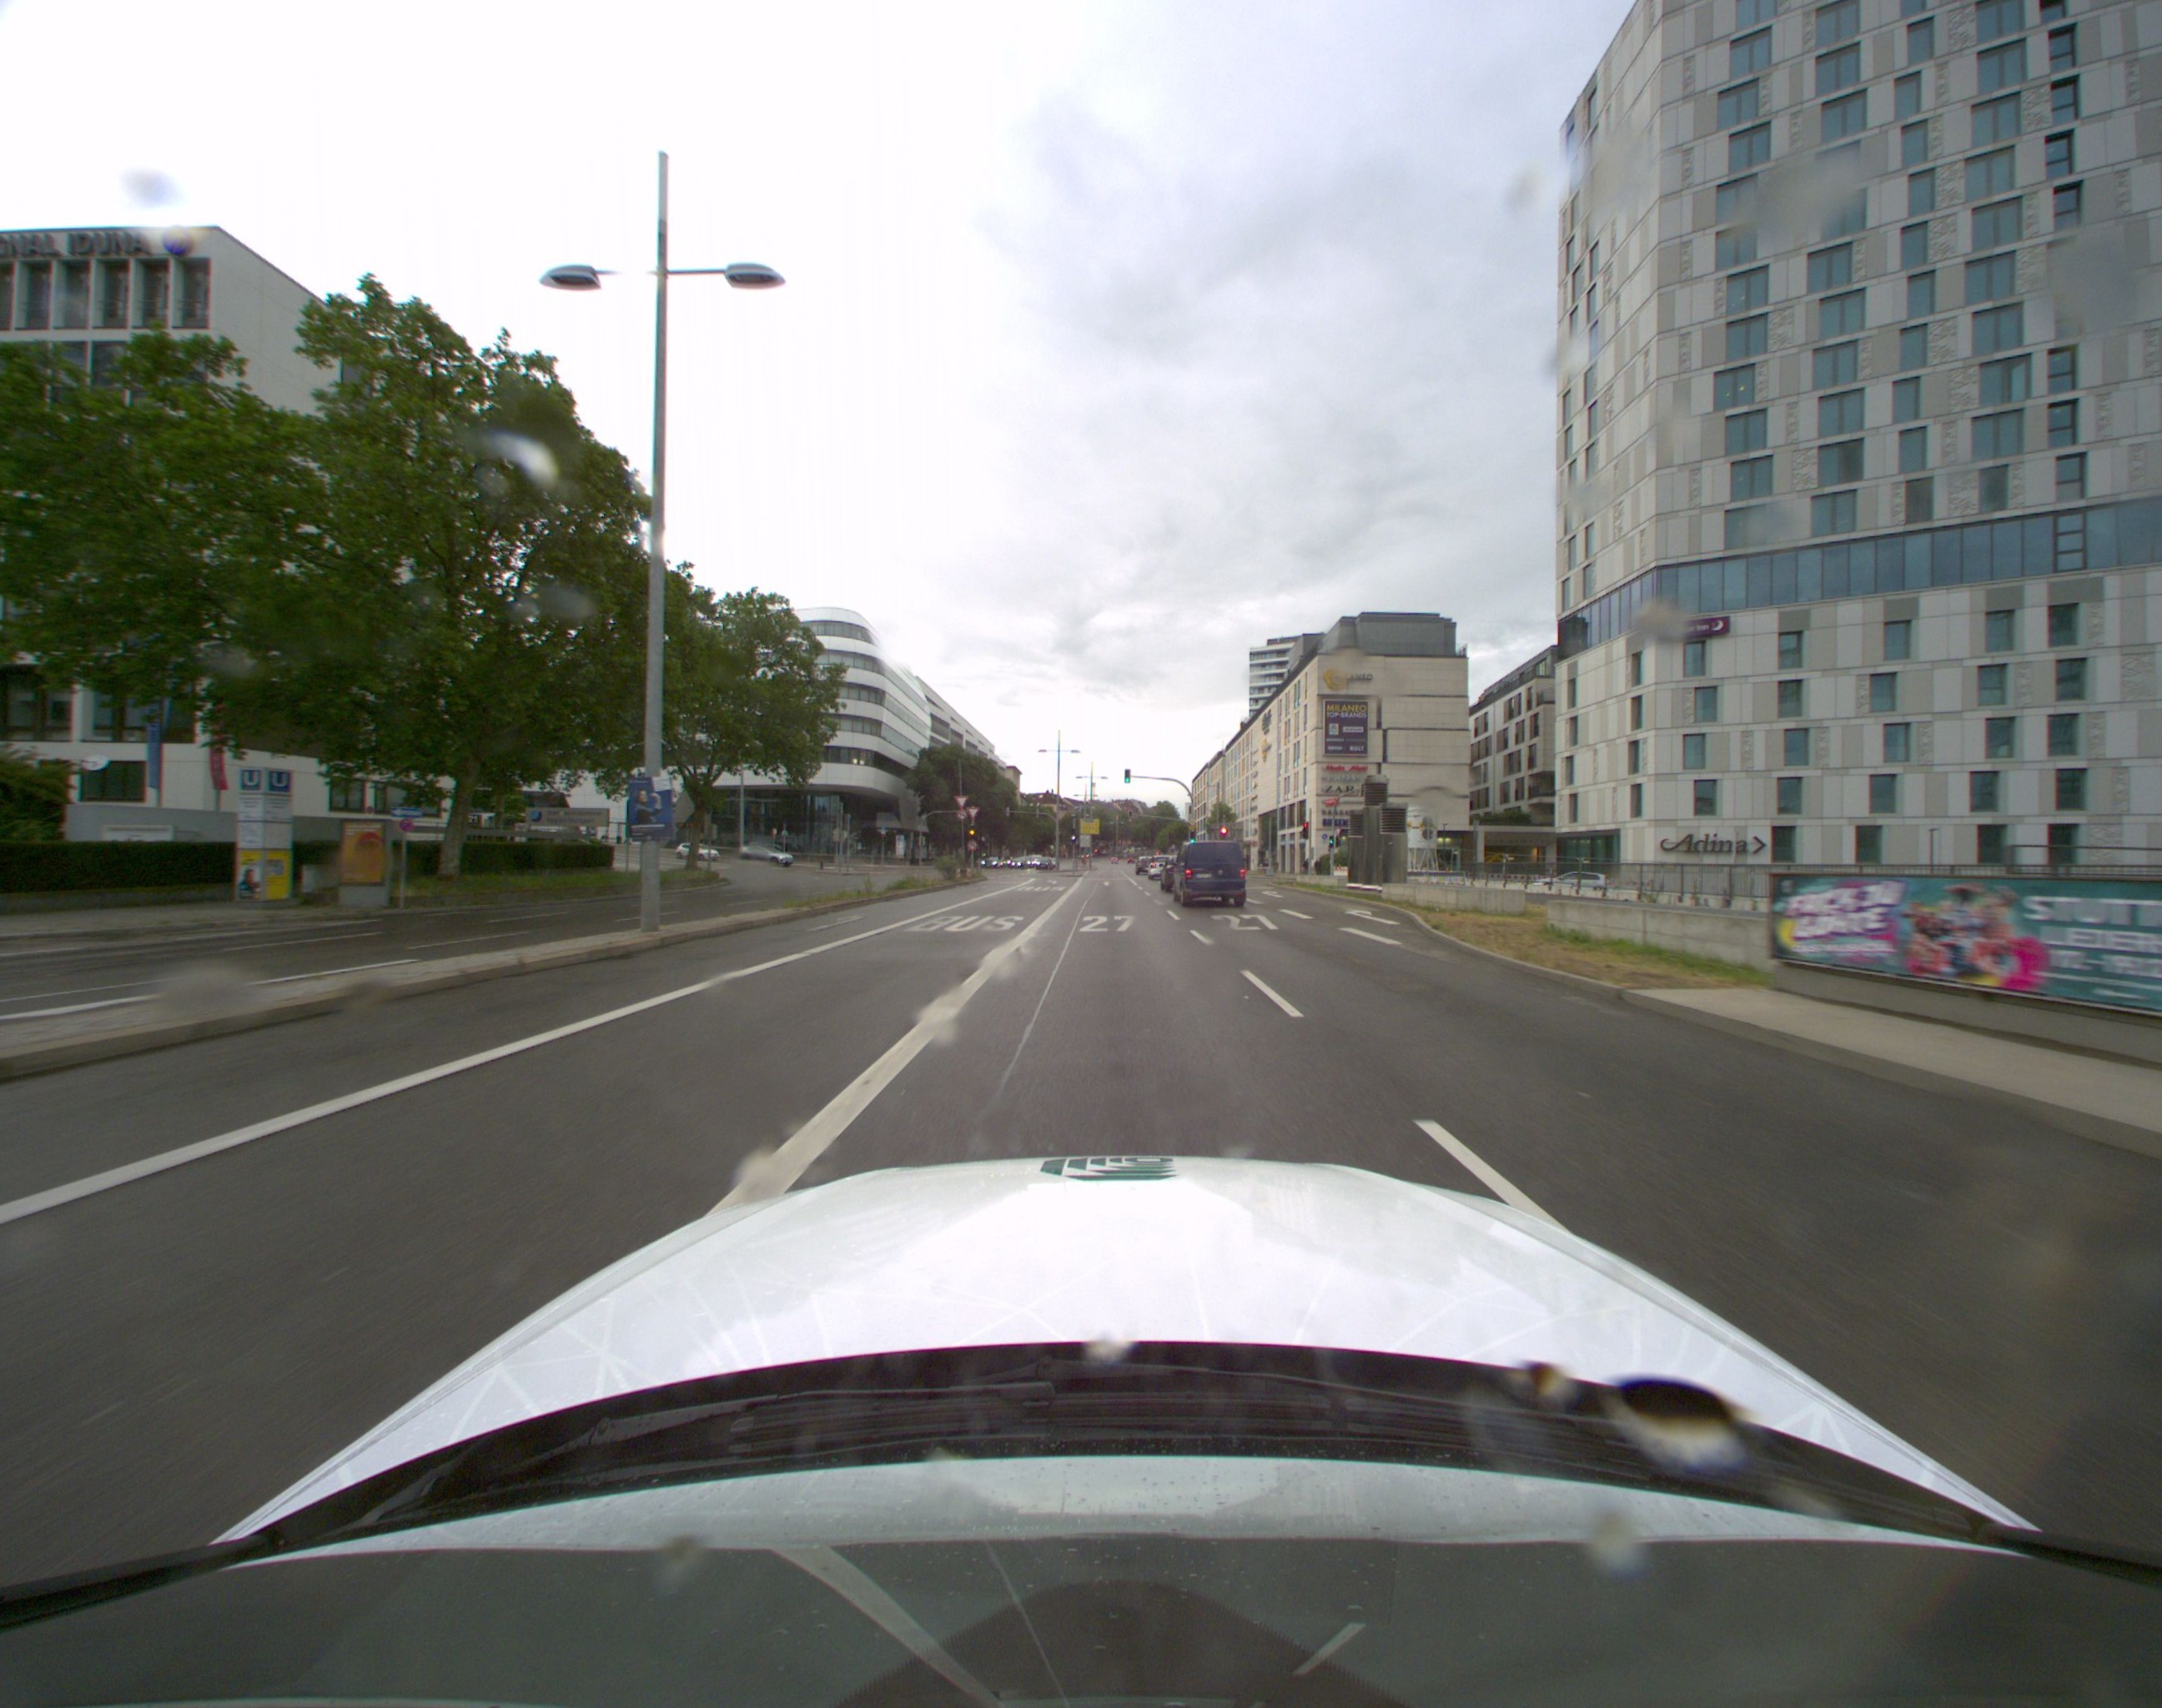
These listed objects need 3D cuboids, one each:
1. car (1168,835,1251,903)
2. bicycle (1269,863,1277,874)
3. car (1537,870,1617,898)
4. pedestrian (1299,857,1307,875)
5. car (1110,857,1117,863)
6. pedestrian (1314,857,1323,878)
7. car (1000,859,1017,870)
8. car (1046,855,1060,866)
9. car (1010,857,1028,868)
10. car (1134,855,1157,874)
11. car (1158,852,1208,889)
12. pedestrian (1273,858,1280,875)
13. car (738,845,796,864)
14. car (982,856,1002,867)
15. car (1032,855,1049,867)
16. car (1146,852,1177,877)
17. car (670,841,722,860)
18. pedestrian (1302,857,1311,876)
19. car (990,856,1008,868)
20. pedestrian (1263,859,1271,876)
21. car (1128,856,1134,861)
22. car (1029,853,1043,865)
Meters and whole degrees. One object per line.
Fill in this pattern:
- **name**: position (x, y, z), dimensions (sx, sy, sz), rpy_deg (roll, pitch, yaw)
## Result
- **car**: position (3.966, 0.423, 25.984), dimensions (2.025, 1.882, 5.045), rpy_deg (-3, 0, 3)
- **bicycle**: position (18.254, 1.386, 77.472), dimensions (0.447, 1.016, 1.743), rpy_deg (0, -1, 3)
- **car**: position (29.333, 1.766, 48.268), dimensions (3.949, 1.433, 1.754), rpy_deg (2, 0, 30)
- **pedestrian**: position (21.095, 1.138, 77.436), dimensions (0.588, 1.642, 0.591), rpy_deg (-1, -2, 27)
- **car**: position (8.935, 1.670, 223.073), dimensions (1.736, 1.531, 3.809), rpy_deg (0, 0, -3)
- **pedestrian**: position (20.961, 1.189, 71.861), dimensions (0.442, 1.780, 0.590), rpy_deg (1, -2, -26)
- **car**: position (-9.841, 1.447, 110.689), dimensions (1.736, 1.559, 3.541), rpy_deg (0, -1, 2)
- **car**: position (-3.771, 0.911, 110.546), dimensions (1.532, 1.478, 3.698), rpy_deg (0, -1, 2)
- **car**: position (-7.388, 0.999, 97.952), dimensions (1.736, 1.257, 3.541), rpy_deg (1, 0, 2)
- **car**: position (5.225, 0.881, 66.588), dimensions (1.733, 1.531, 3.816), rpy_deg (0, -1, 2)
- **car**: position (4.322, 0.669, 35.112), dimensions (1.784, 1.507, 4.341), rpy_deg (0, 0, 2)
- **pedestrian**: position (18.590, 1.163, 77.435), dimensions (0.548, 1.611, 0.698), rpy_deg (0, -2, 2)
- **car**: position (-27.294, 0.056, 70.756), dimensions (4.465, 1.631, 1.903), rpy_deg (-1, -1, 18)
- **car**: position (-10.579, 0.892, 96.545), dimensions (1.736, 1.328, 4.227), rpy_deg (0, -1, 2)
- **car**: position (-4.746, 0.840, 96.628), dimensions (1.736, 1.444, 3.396), rpy_deg (0, -1, 2)
- **car**: position (5.063, 0.706, 51.774), dimensions (1.717, 1.531, 3.816), rpy_deg (0, -1, 2)
- **car**: position (-34.765, -0.288, 73.585), dimensions (3.955, 1.631, 1.903), rpy_deg (-1, -1, 18)
- **pedestrian**: position (19.768, 1.076, 71.340), dimensions (0.619, 1.672, 0.824), rpy_deg (0, -2, 2)
- **car**: position (-10.551, 1.050, 105.169), dimensions (1.736, 1.424, 3.541), rpy_deg (0, -1, 2)
- **pedestrian**: position (17.666, 1.322, 77.498), dimensions (0.610, 1.611, 0.819), rpy_deg (0, -2, 2)
- **car**: position (14.391, 1.288, 235.460), dimensions (1.733, 1.531, 3.816), rpy_deg (0, -1, 2)
- **car**: position (-6.587, 0.753, 118.786), dimensions (1.736, 1.748, 3.541), rpy_deg (0, -1, 2)
